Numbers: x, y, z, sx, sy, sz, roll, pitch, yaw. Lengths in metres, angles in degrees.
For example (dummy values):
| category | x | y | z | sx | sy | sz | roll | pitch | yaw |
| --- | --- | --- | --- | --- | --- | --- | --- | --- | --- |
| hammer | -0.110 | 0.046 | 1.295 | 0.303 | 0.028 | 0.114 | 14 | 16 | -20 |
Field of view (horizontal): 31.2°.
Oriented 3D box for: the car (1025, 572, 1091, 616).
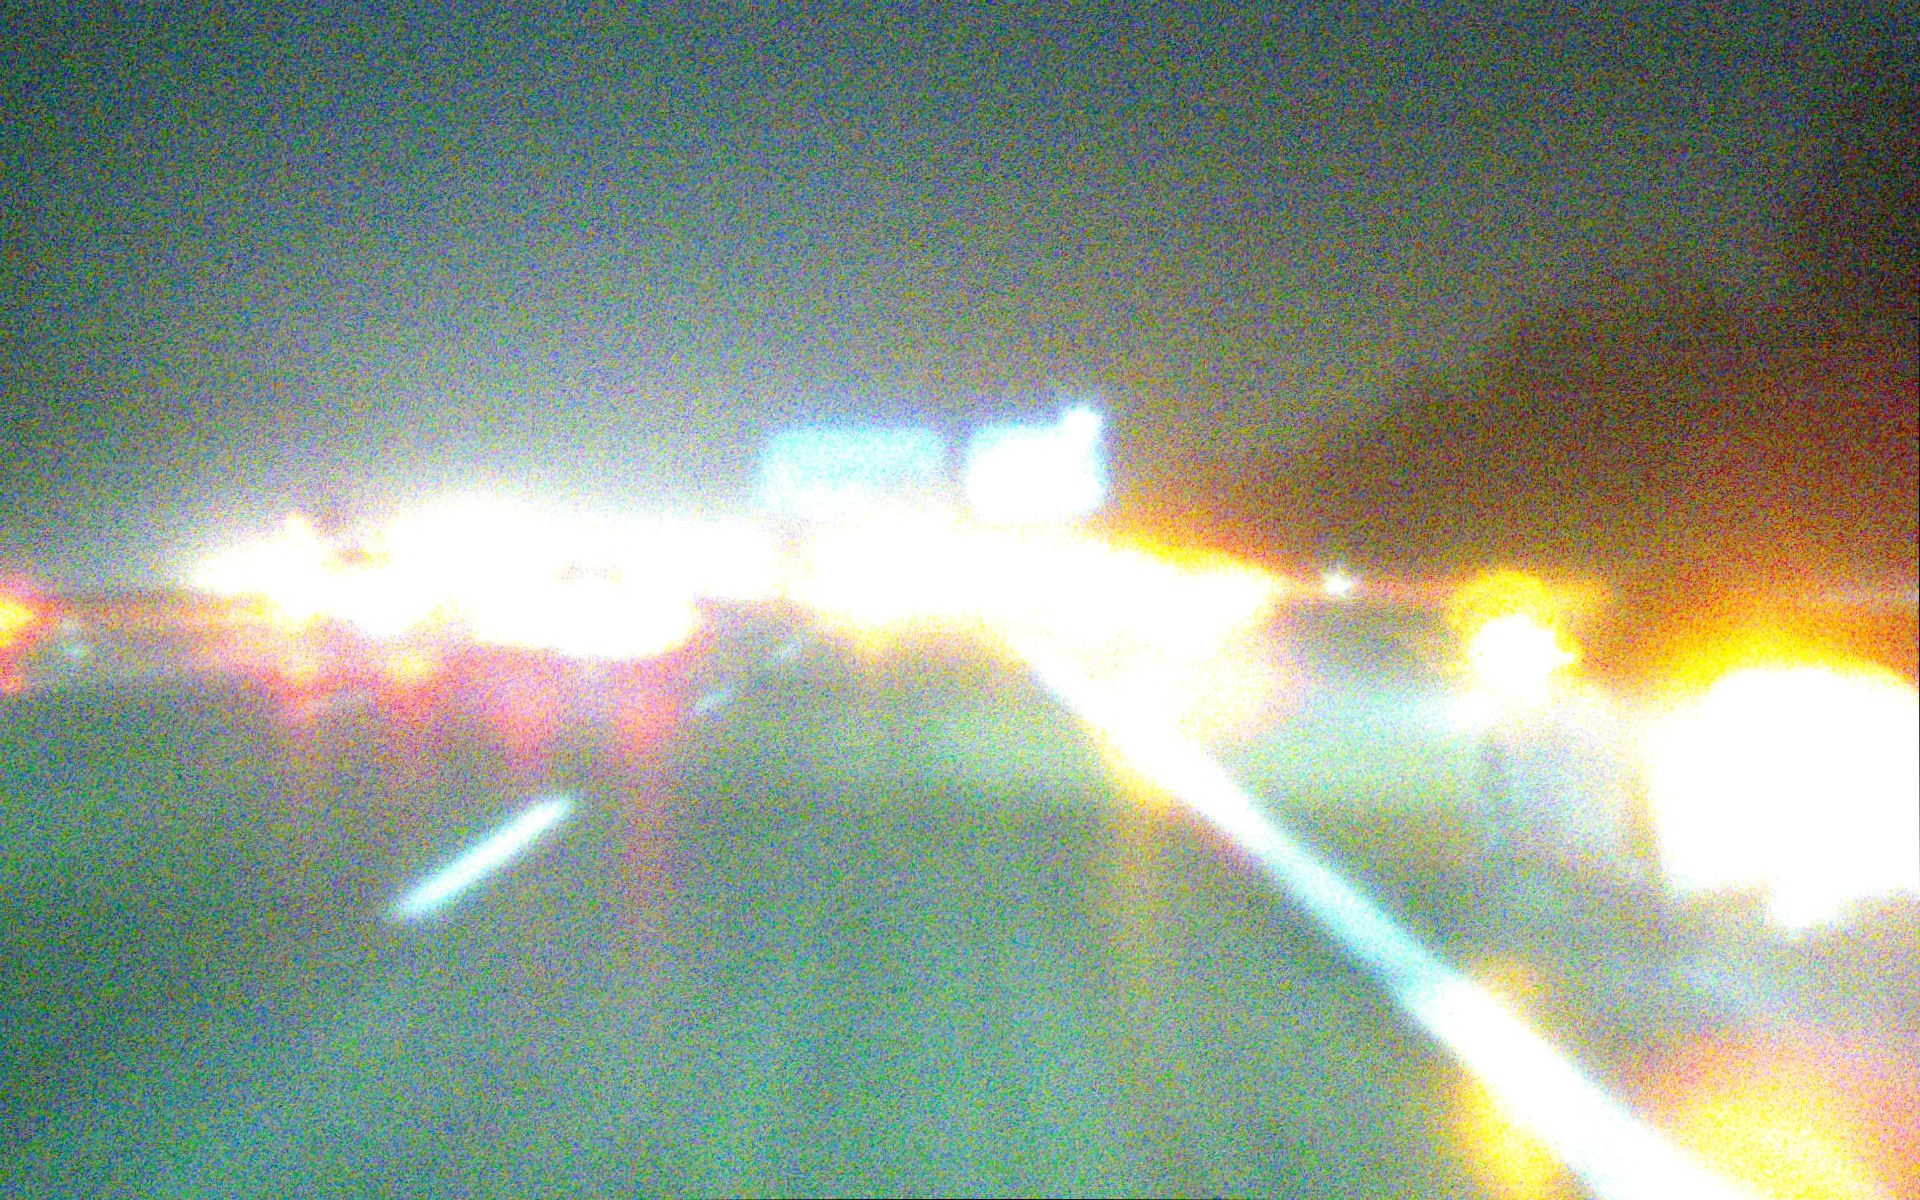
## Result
| category | x | y | z | sx | sy | sz | roll | pitch | yaw |
| --- | --- | --- | --- | --- | --- | --- | --- | --- | --- |
| car | 2.852 | -0.167 | 100.615 | 1.580 | 1.242 | 3.069 | 1 | 0 | -4 |

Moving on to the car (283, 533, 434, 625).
| category | x | y | z | sx | sy | sz | roll | pitch | yaw |
| --- | --- | --- | --- | --- | --- | --- | --- | --- | --- |
| car | -8.864 | -0.292 | 50.886 | 1.662 | 1.232 | 3.761 | -3 | 0 | -2 |

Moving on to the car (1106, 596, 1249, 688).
| category | x | y | z | sx | sy | sz | roll | pitch | yaw |
| --- | --- | --- | --- | --- | --- | --- | --- | --- | --- |
| car | 3.033 | 0.574 | 48.335 | 1.580 | 1.242 | 3.069 | 1 | 0 | -4 |

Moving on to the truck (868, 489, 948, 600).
| category | x | y | z | sx | sy | sz | roll | pitch | yaw |
| --- | --- | --- | --- | --- | --- | --- | --- | --- | --- |
| truck | -1.491 | -1.576 | 100.932 | 1.993 | 3.032 | 6.465 | -3 | 0 | 1 |

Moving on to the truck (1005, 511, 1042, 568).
| category | x | y | z | sx | sy | sz | roll | pitch | yaw |
| --- | --- | --- | --- | --- | --- | --- | --- | --- | --- |
| truck | 3.648 | -3.444 | 198.275 | 1.993 | 3.032 | 6.465 | -3 | 0 | 1 |

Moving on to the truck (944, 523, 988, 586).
| category | x | y | z | sx | sy | sz | roll | pitch | yaw |
| --- | --- | --- | --- | --- | --- | --- | --- | --- | --- |
| truck | 0.332 | -2.299 | 175.629 | 1.993 | 3.032 | 6.465 | -3 | 0 | 1 |

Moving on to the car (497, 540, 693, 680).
| category | x | y | z | sx | sy | sz | roll | pitch | yaw |
| --- | --- | --- | --- | --- | --- | --- | --- | --- | --- |
| car | -4.039 | 0.068 | 38.577 | 1.802 | 1.482 | 4.000 | 0 | 1 | -1 |

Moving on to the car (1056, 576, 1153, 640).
| category | x | y | z | sx | sy | sz | roll | pitch | yaw |
| --- | --- | --- | --- | --- | --- | --- | --- | --- | --- |
| car | 2.884 | 0.160 | 68.988 | 1.580 | 1.242 | 3.069 | 1 | 0 | -4 |

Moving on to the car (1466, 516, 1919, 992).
| category | x | y | z | sx | sy | sz | roll | pitch | yaw |
| --- | --- | --- | --- | --- | --- | --- | --- | --- | --- |
| car | 3.354 | 0.449 | 13.446 | 2.058 | 1.514 | 5.016 | 0 | 1 | 1 |
